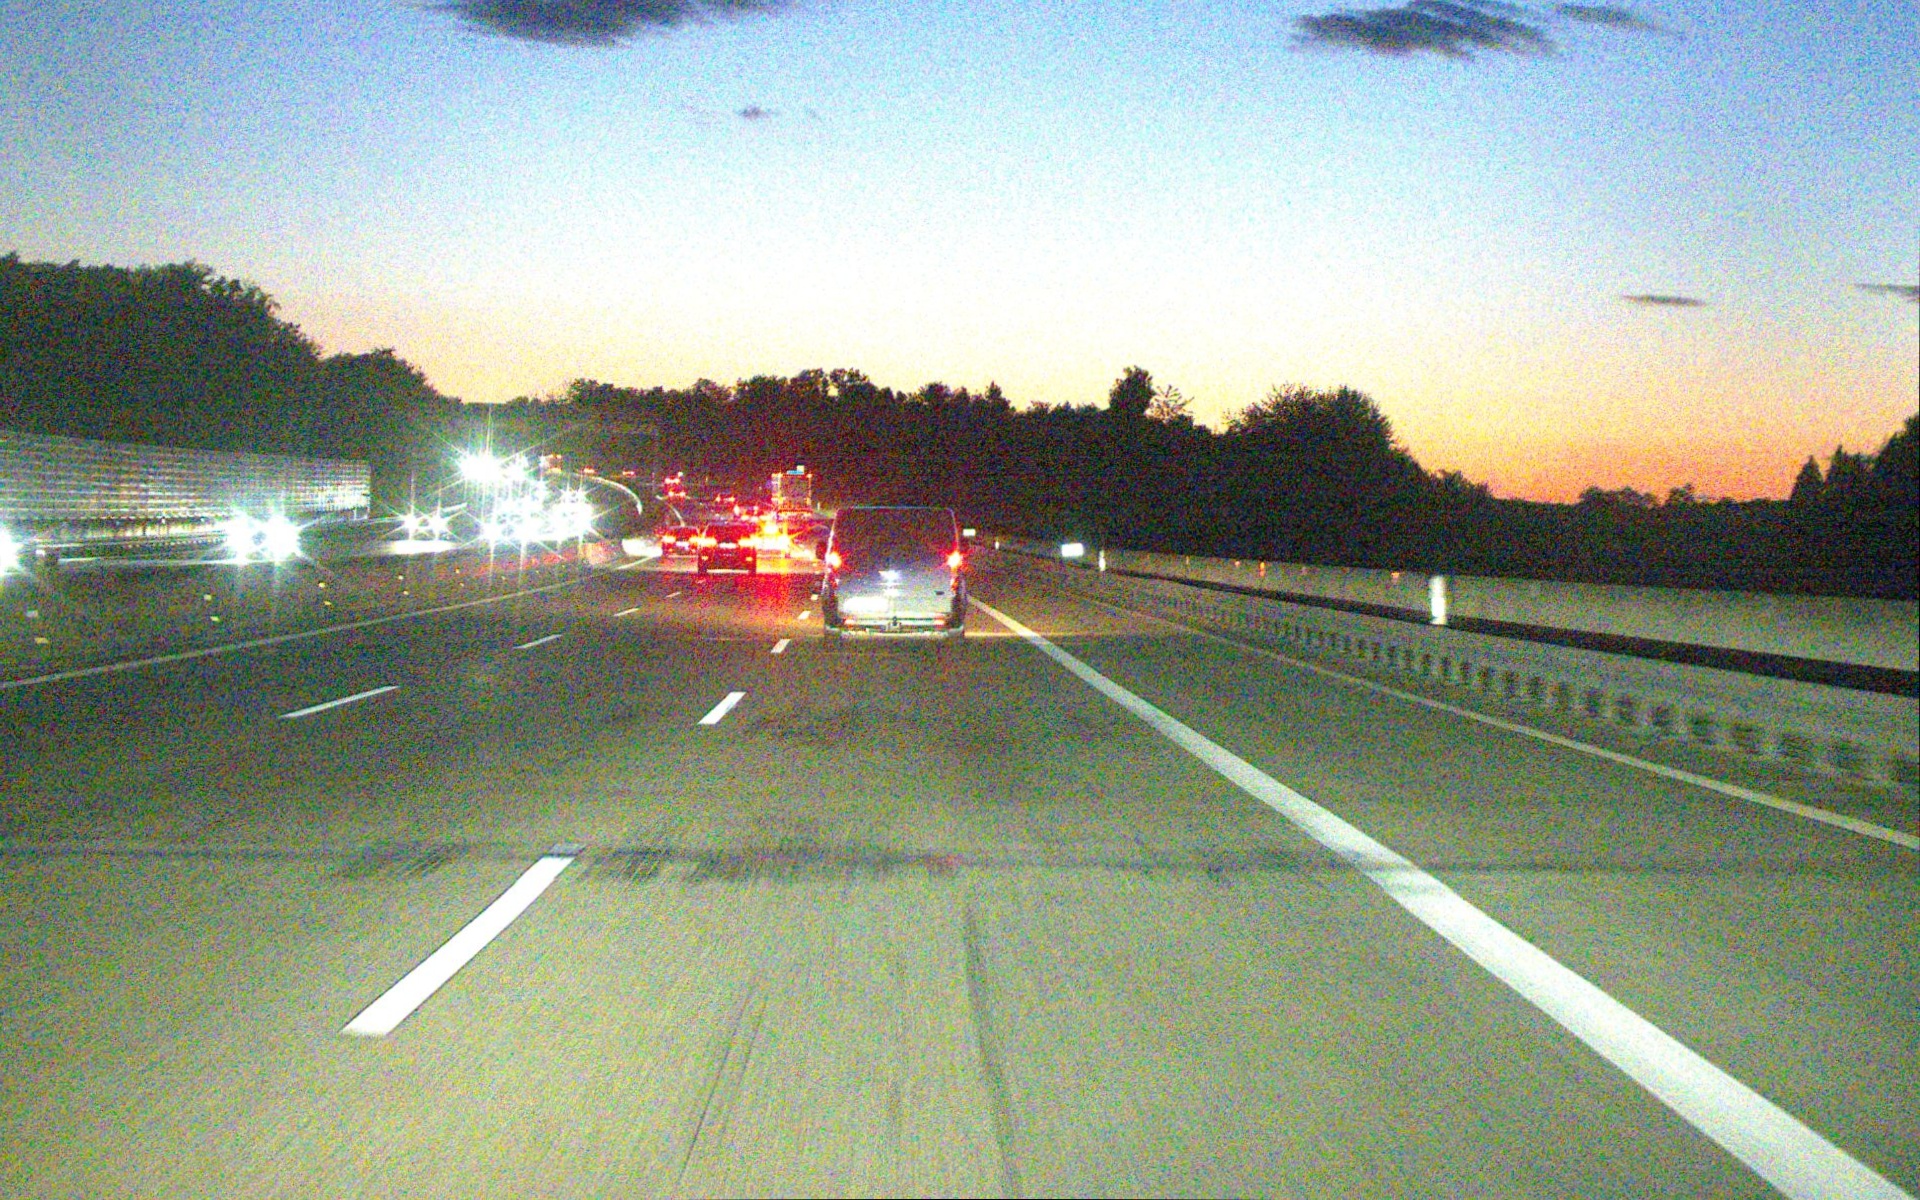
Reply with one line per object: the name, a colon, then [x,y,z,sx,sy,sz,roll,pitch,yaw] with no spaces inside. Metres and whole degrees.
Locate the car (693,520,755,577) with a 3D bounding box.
car: [-7.750,-1.667,112.829,1.993,1.809,4.001,1,1,-4]

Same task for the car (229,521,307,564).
car: [-26.663,-2.218,132.679,2.118,1.550,5.109,1,1,-2]

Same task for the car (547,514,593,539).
car: [-25.086,-4.721,221.238,2.559,1.550,5.109,1,1,-2]

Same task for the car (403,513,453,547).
car: [-29.608,-3.892,191.459,2.053,1.775,5.942,1,1,-2]

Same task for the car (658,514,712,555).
car: [-11.866,-2.825,148.460,2.171,1.662,4.887,1,1,-3]

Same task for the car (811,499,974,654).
car: [-1.007,-0.396,49.053,2.115,1.994,5.665,2,2,-2]

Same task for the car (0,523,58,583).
car: [-24.933,-1.237,88.394,2.183,1.476,5.243,2,1,-2]

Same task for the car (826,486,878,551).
car: [-4.574,-3.480,145.037,2.032,2.637,5.726,1,2,-3]

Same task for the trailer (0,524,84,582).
trailer: [-25.056,-1.277,92.601,2.183,1.476,3.129,2,1,-2]

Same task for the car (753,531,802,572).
car: [-8.205,-2.170,154.686,1.993,1.788,4.000,1,1,0]

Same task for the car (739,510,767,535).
car: [-14.960,-5.607,248.894,1.993,1.788,4.001,1,1,-3]
